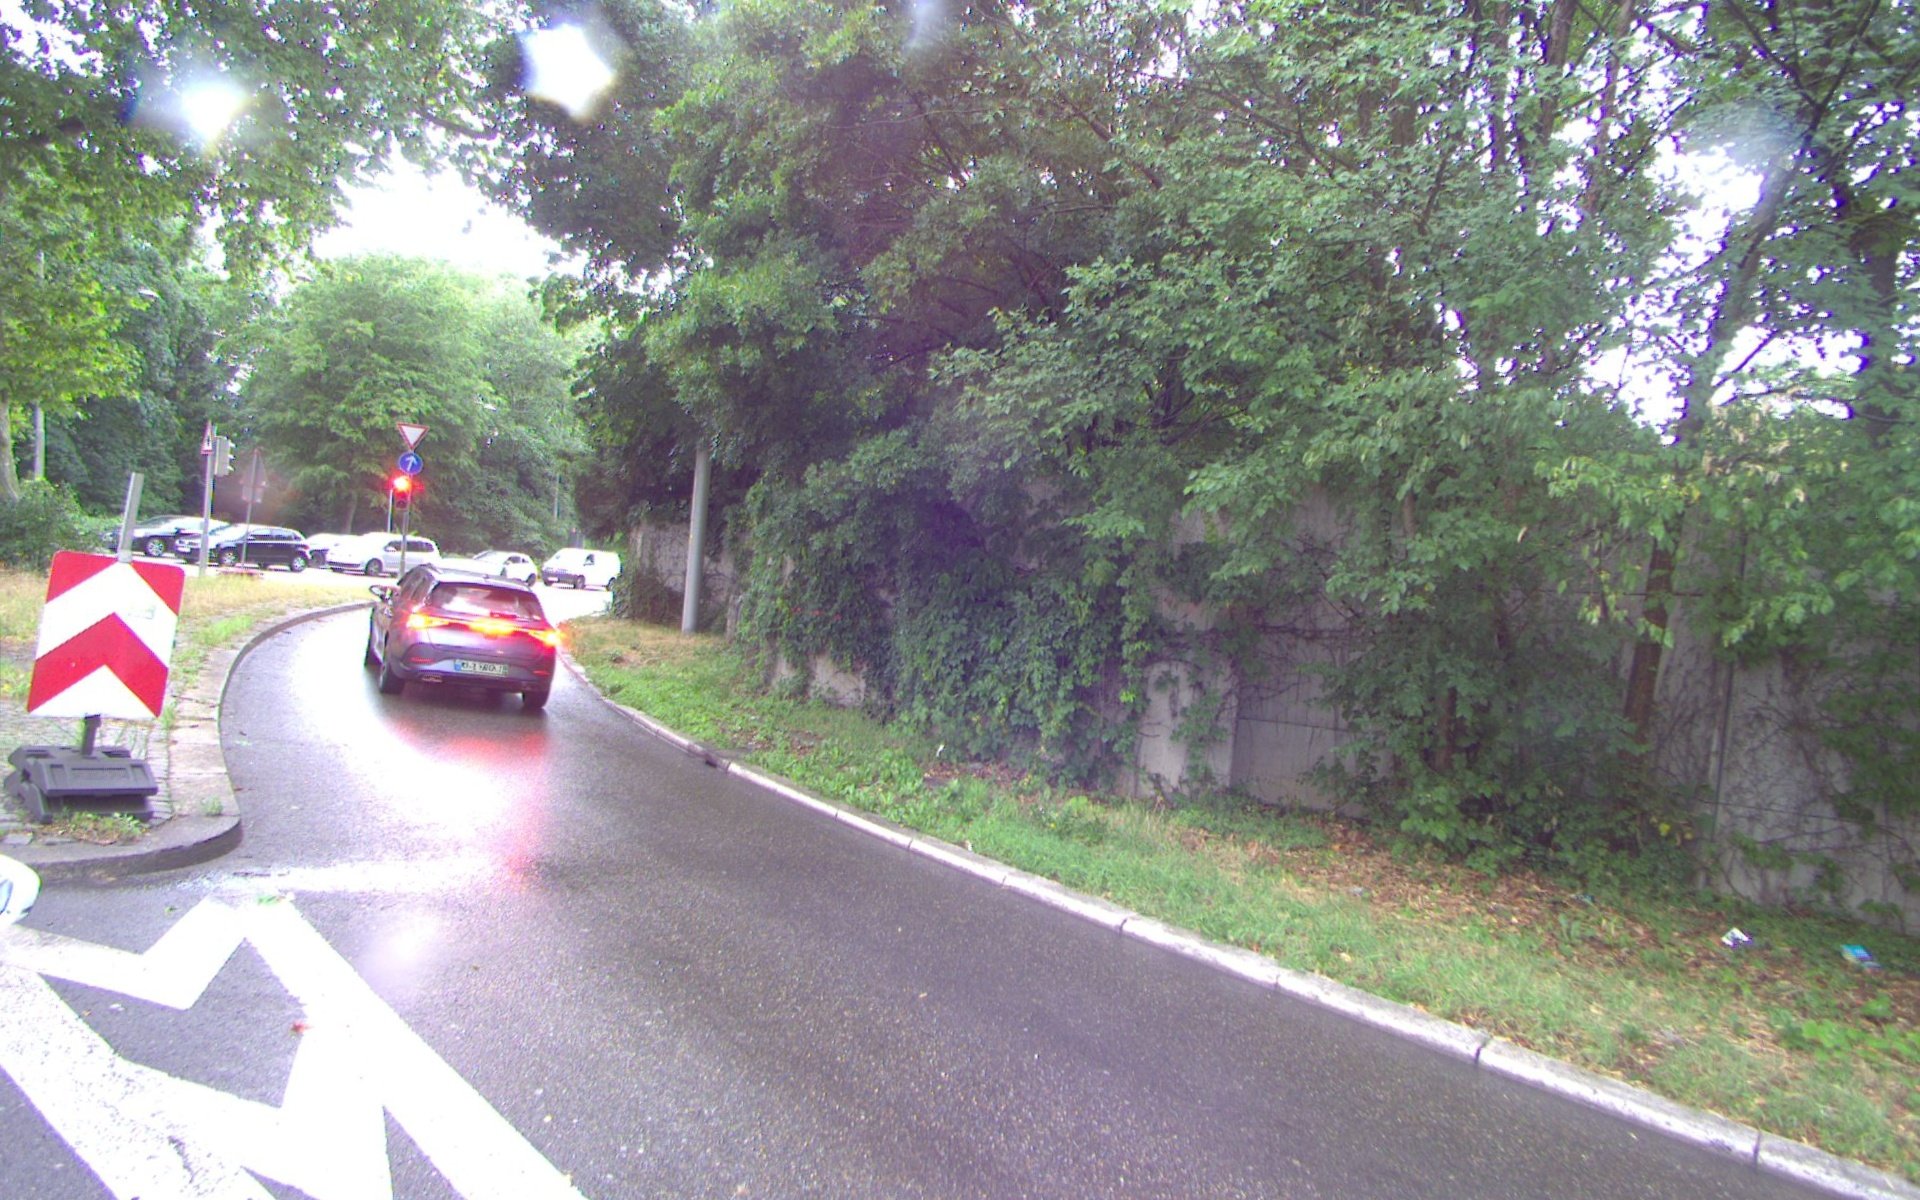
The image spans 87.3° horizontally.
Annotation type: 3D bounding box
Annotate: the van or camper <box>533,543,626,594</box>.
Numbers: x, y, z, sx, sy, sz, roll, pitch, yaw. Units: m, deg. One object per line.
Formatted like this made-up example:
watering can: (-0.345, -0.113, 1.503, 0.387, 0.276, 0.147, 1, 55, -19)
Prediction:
van or camper: (-19.098, -1.524, 50.766, 1.870, 1.970, 4.870, 7, -1, 12)

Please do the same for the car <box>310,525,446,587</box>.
car: (-22.064, -1.628, 38.349, 1.871, 1.699, 4.216, 7, -2, 16)

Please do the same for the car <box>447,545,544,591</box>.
car: (-20.537, -1.398, 44.674, 1.627, 1.478, 3.869, 7, -2, 16)

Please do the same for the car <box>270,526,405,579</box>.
car: (-24.789, -1.854, 40.274, 1.795, 1.418, 4.452, 7, -2, 16)

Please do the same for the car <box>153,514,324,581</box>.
car: (-23.309, -1.652, 32.716, 1.759, 1.477, 4.205, 7, -2, 16)

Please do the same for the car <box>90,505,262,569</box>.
car: (-26.637, -2.088, 34.364, 1.913, 1.457, 4.218, 7, -2, 16)

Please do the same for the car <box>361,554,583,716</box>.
car: (-6.087, 0.319, 12.244, 1.739, 1.418, 4.375, 10, -3, -33)

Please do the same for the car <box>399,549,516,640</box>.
car: (-10.746, -0.158, 21.815, 1.837, 1.464, 4.593, 11, -3, -24)
